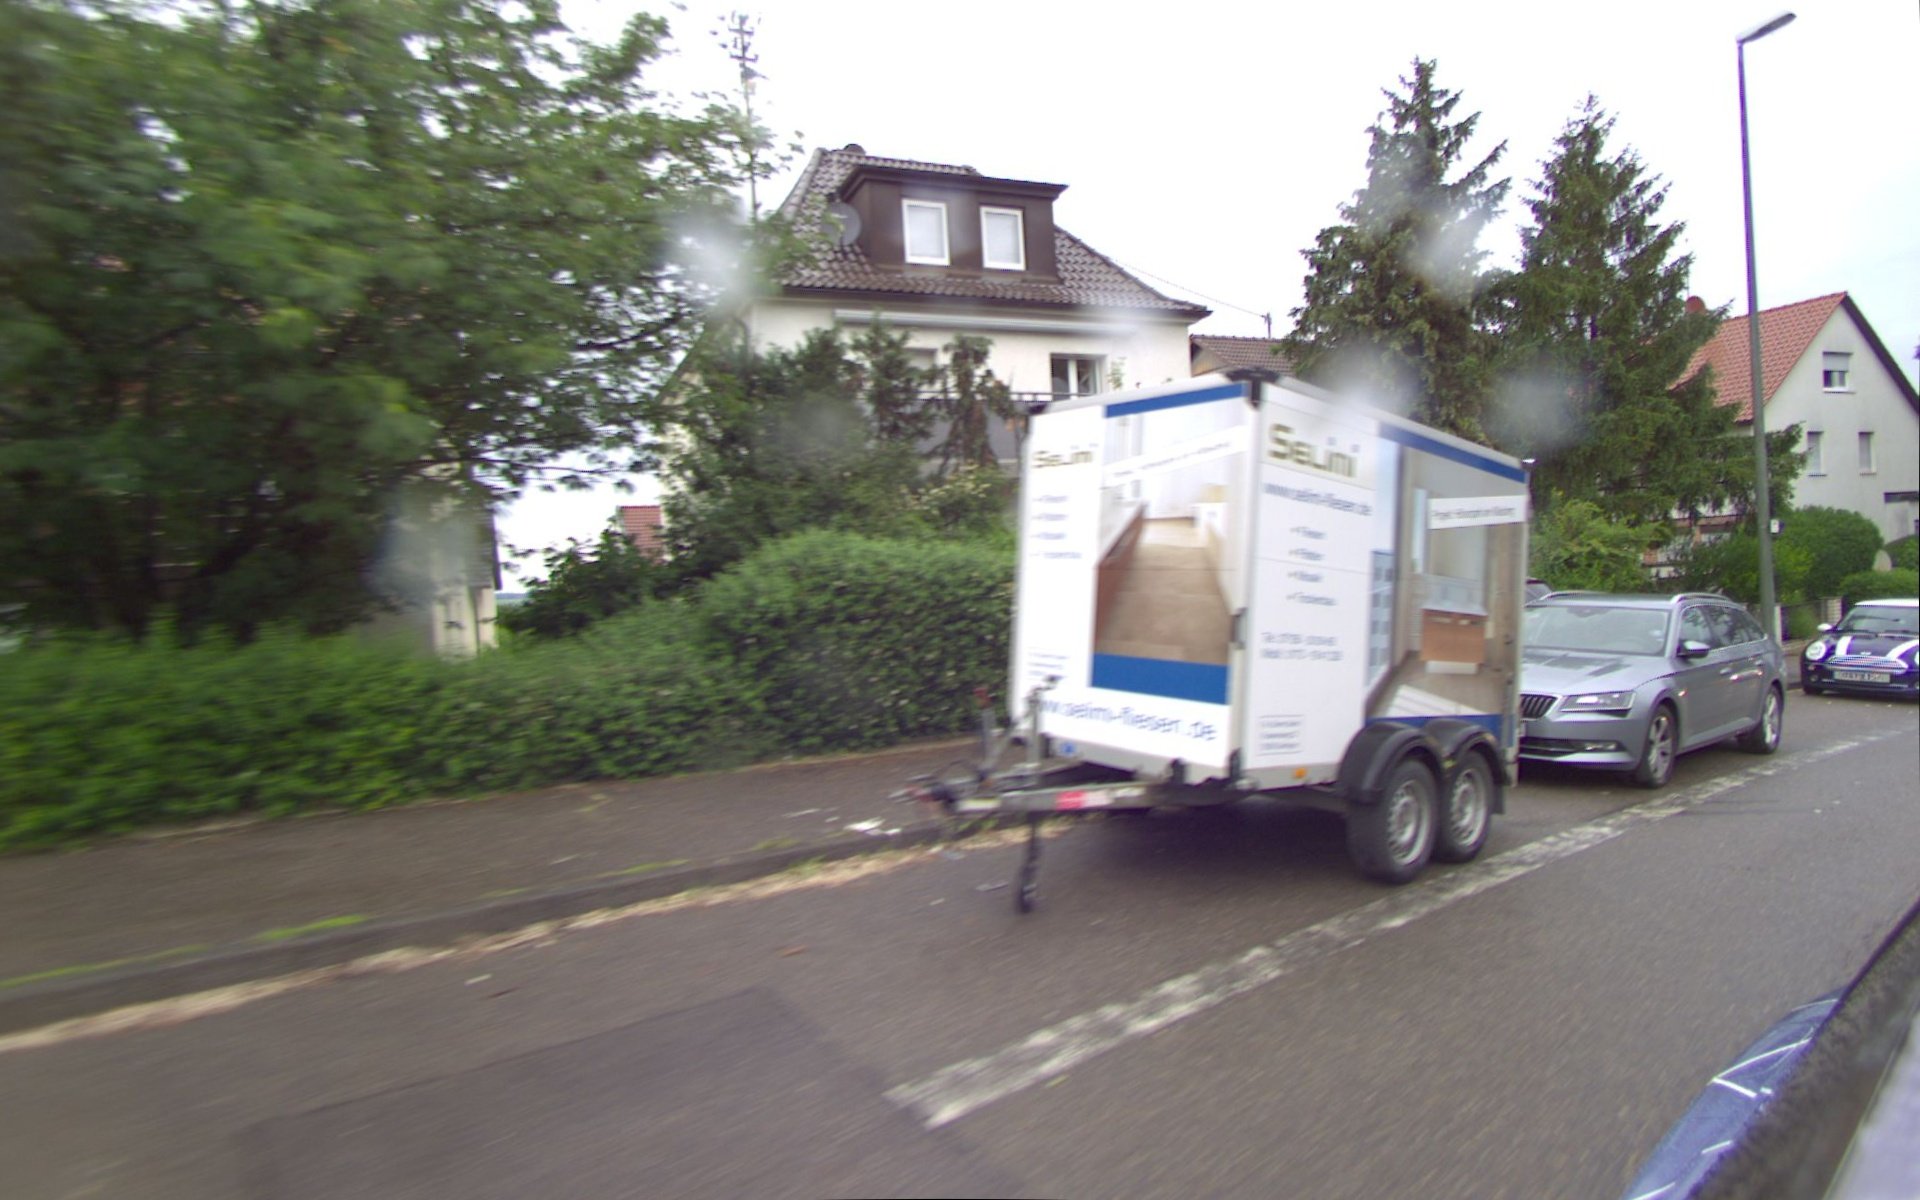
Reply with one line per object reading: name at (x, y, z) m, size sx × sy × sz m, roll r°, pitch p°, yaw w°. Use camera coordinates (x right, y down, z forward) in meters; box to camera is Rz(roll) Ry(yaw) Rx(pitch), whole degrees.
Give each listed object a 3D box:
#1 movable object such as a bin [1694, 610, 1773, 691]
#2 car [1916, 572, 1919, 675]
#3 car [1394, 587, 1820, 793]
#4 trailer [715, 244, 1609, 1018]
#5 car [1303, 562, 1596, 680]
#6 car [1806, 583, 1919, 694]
movable object such as a bin at (11.052, 0.700, 14.461) m, size 0.687 × 1.111 × 0.704 m, roll 0°, pitch -1°, yaw -34°
car at (18.371, 0.384, 17.437) m, size 4.374 × 1.722 × 1.836 m, roll -1°, pitch 1°, yaw -33°
car at (6.042, 0.608, 9.228) m, size 4.616 × 1.442 × 1.752 m, roll -1°, pitch 1°, yaw -36°
trailer at (1.523, 0.066, 5.687) m, size 5.335 × 2.487 × 1.954 m, roll -1°, pitch 1°, yaw -38°
car at (7.917, 0.421, 16.785) m, size 1.742 × 1.710 × 4.018 m, roll 0°, pitch -3°, yaw -30°
car at (14.096, 0.498, 14.789) m, size 3.628 × 1.475 × 1.640 m, roll -1°, pitch 1°, yaw -32°
